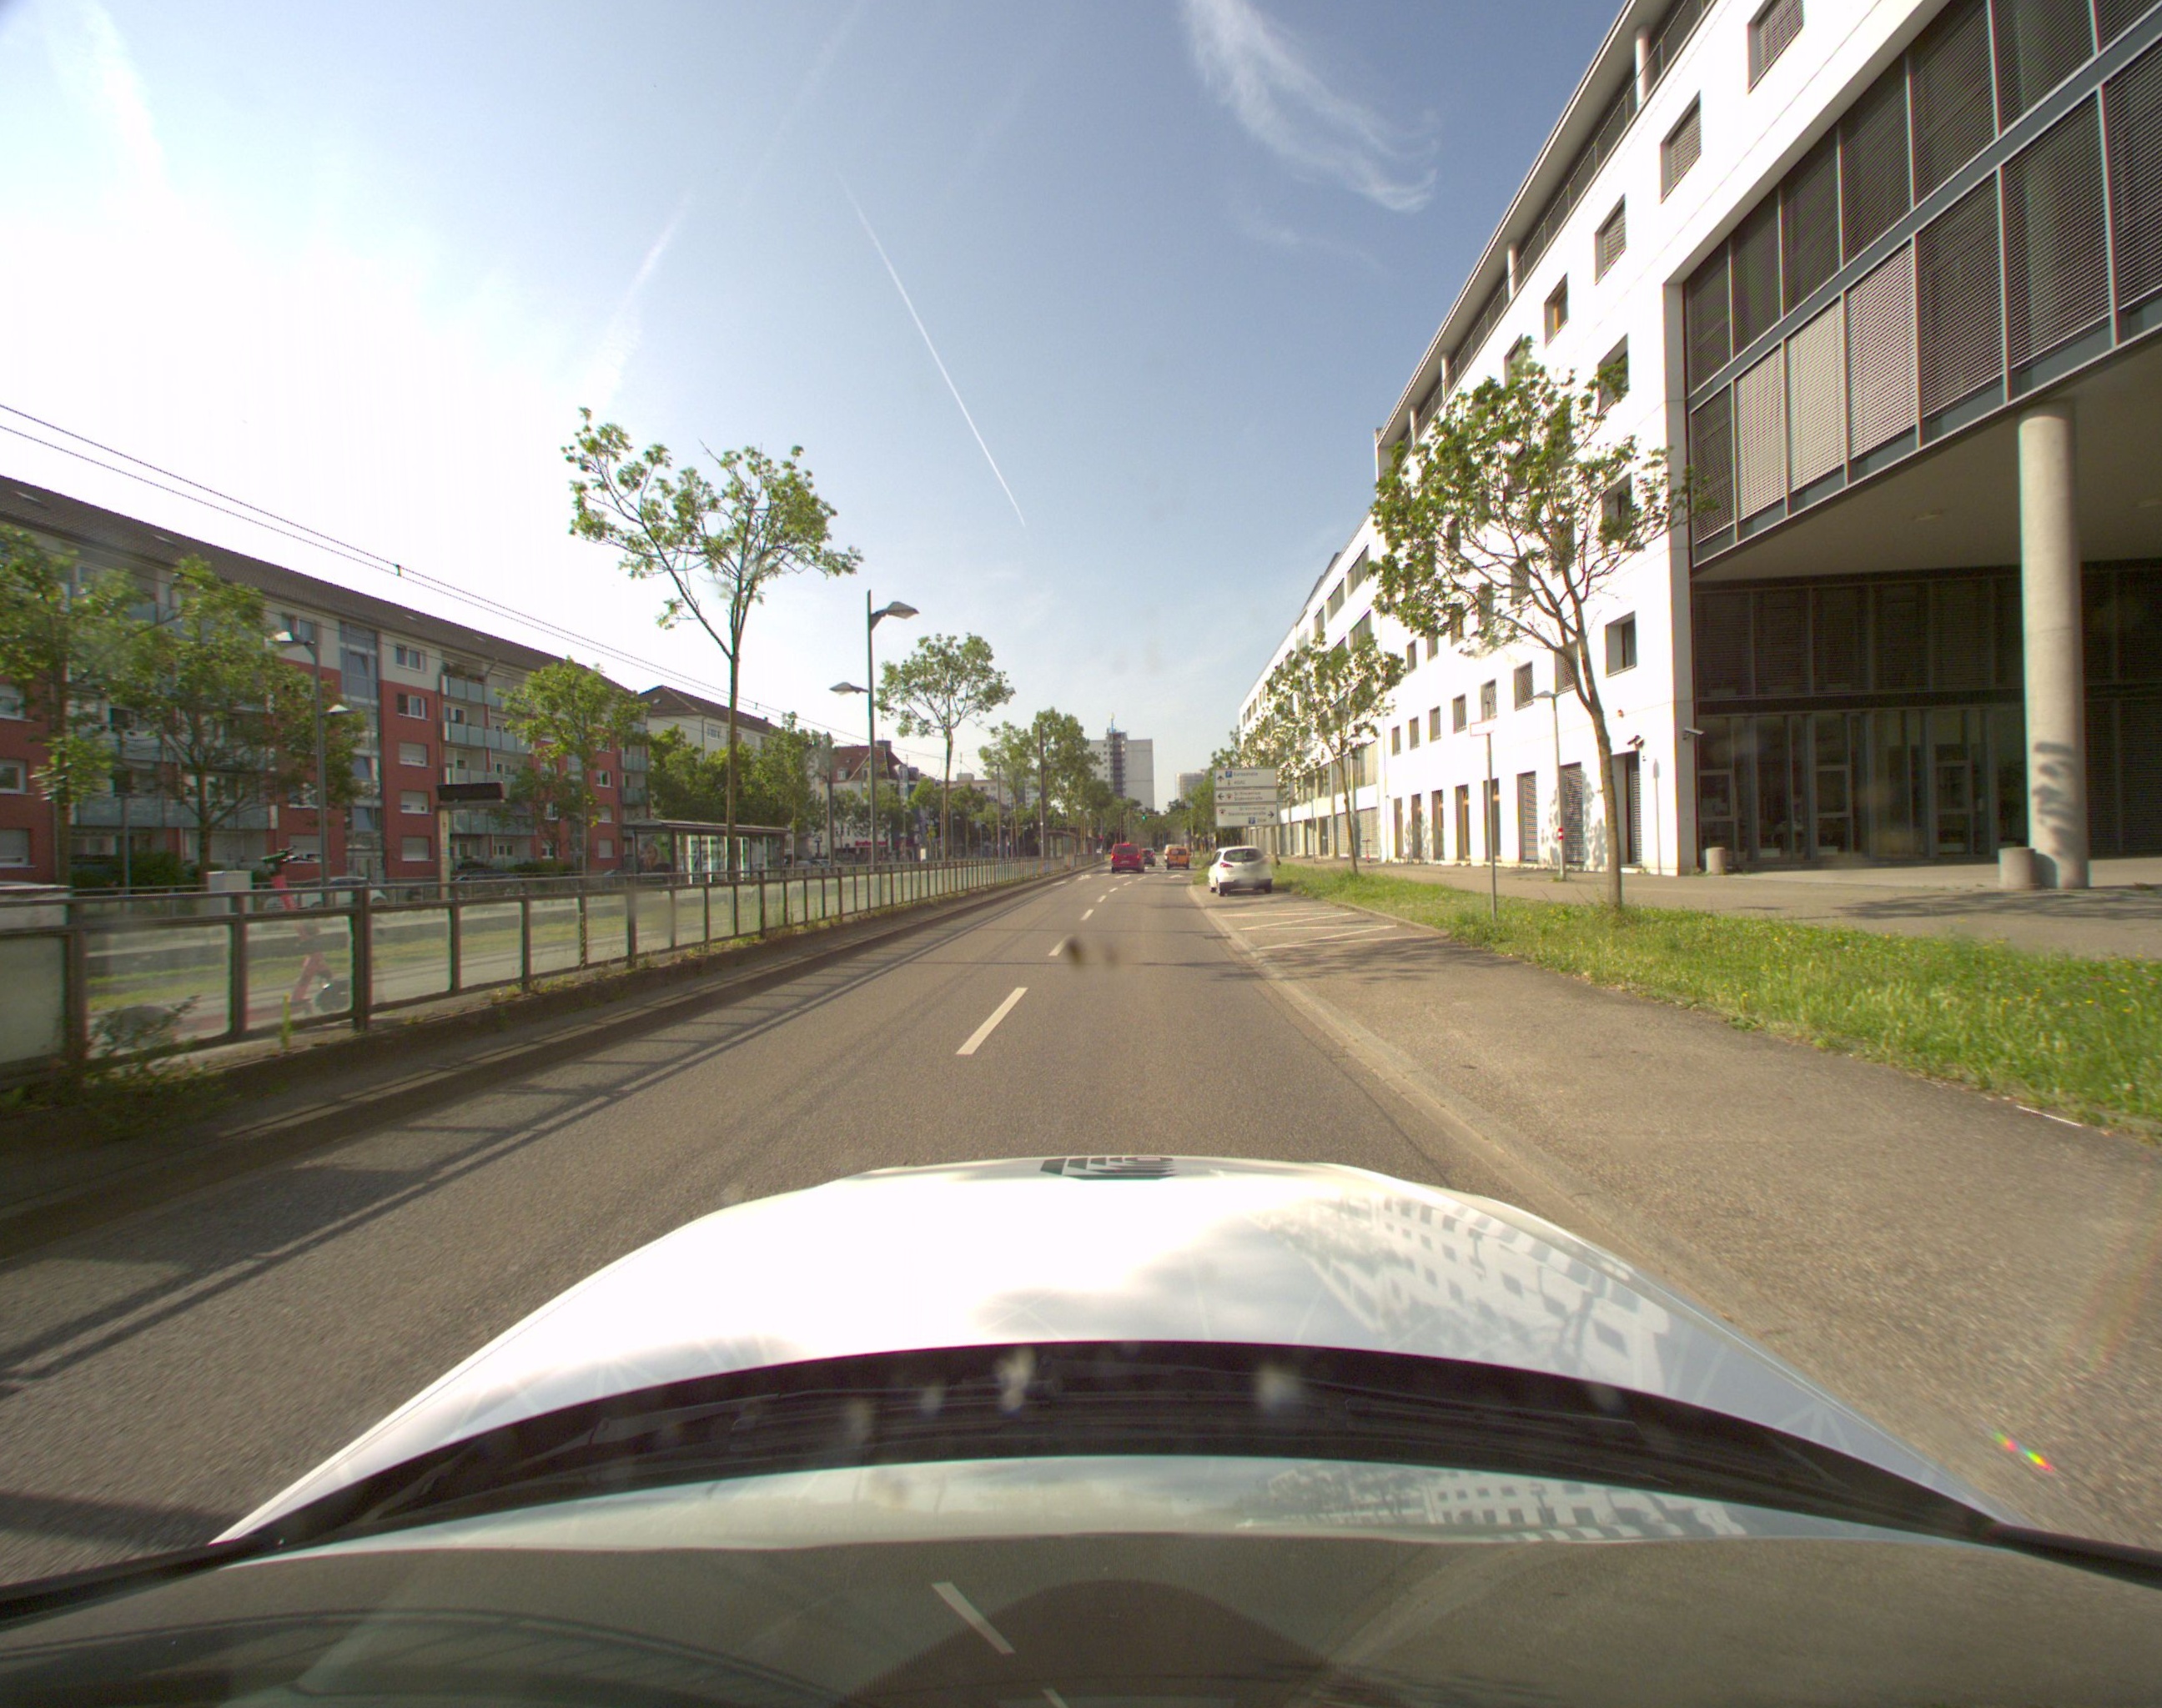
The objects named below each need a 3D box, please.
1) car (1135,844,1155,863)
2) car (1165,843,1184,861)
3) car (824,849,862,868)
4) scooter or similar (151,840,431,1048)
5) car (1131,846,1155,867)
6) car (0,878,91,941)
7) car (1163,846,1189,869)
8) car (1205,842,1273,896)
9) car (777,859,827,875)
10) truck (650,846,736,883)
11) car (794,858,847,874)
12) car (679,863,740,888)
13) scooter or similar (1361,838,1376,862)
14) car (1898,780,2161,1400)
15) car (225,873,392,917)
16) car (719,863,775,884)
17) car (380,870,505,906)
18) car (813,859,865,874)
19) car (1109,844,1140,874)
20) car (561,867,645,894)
[{"bbox_3d":[7.010,-0.060,89.575,1.985,2.013,4.004,-2,0,3],"label":"car"},{"bbox_3d":[10.704,-0.216,93.694,1.984,2.013,4.005,-2,0,4],"label":"car"},{"bbox_3d":[-26.017,0.497,89.261,2.355,2.030,5.317,0,0,4],"label":"car"},{"bbox_3d":[-5.287,0.538,5.524,0.422,1.239,1.270,-3,0,32],"label":"scooter or similar"},{"bbox_3d":[5.482,0.197,71.430,1.984,1.706,4.005,-2,0,4],"label":"car"},{"bbox_3d":[-28.341,1.430,20.156,1.972,1.556,4.542,0,0,4],"label":"car"},{"bbox_3d":[7.189,0.242,61.829,1.867,1.696,3.979,-1,0,5],"label":"car"},{"bbox_3d":[5.111,0.455,26.762,1.681,1.526,3.855,-4,0,4],"label":"car"},{"bbox_3d":[-22.755,1.091,66.314,3.948,1.244,1.844,-1,0,35],"label":"car"},{"bbox_3d":[-28.234,0.720,59.647,2.355,2.563,7.248,0,0,4],"label":"truck"},{"bbox_3d":[-22.301,1.028,69.741,3.954,1.244,1.949,-1,0,20],"label":"car"},{"bbox_3d":[-25.101,1.422,55.199,1.972,1.513,4.285,0,0,4],"label":"car"},{"bbox_3d":[14.938,-0.205,42.357,0.459,1.213,1.258,-3,0,10],"label":"scooter or similar"},{"bbox_3d":[3.442,0.571,0.720,1.714,1.519,3.783,-2,1,2],"label":"car"},{"bbox_3d":[-27.681,1.428,29.389,1.972,1.360,4.073,0,0,4],"label":"car"},{"bbox_3d":[-24.766,1.421,60.587,1.972,1.379,4.688,0,0,4],"label":"car"},{"bbox_3d":[-27.236,1.426,34.915,1.972,1.360,4.073,0,0,4],"label":"car"},{"bbox_3d":[-21.443,1.112,72.261,3.954,1.244,1.949,-1,0,20],"label":"car"},{"bbox_3d":[2.840,0.305,52.782,1.866,1.853,4.004,-1,0,3],"label":"car"},{"bbox_3d":[-26.064,1.425,44.562,1.972,1.360,4.073,0,0,4],"label":"car"}]
